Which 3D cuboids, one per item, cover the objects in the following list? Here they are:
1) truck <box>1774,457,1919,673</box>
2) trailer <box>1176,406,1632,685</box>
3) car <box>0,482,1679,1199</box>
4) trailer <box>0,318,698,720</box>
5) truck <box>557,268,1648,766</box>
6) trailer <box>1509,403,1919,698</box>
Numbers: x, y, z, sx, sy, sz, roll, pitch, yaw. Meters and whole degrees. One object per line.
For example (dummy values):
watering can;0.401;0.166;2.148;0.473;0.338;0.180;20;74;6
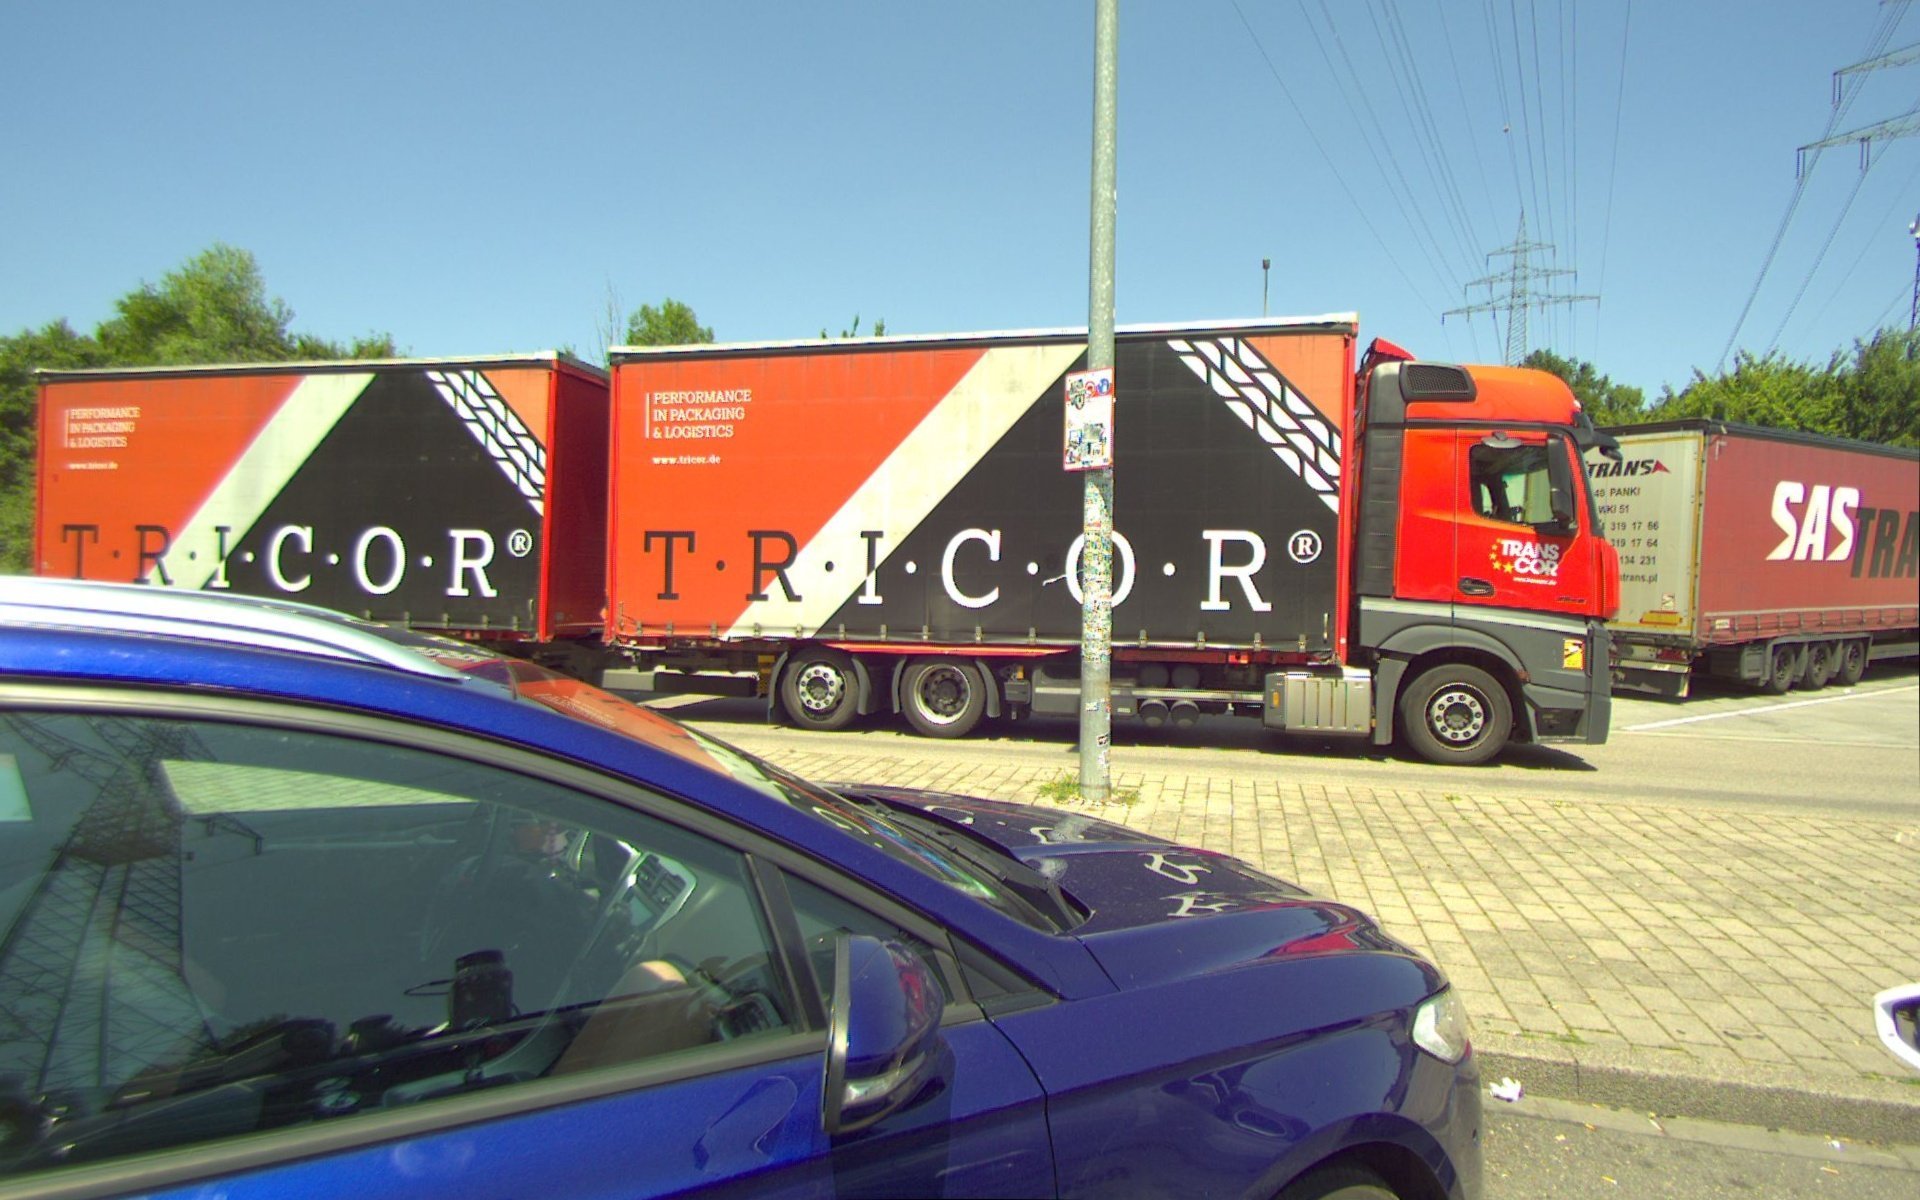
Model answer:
truck;20.821;-0.676;21.776;6.749;4.136;2.729;0;1;-31
trailer;8.714;-0.832;19.111;9.614;4.321;2.733;0;1;-29
car;-1.006;0.650;1.468;4.419;1.485;1.765;0;1;-32
trailer;-8.014;-0.912;13.242;8.510;4.315;2.844;1;1;15
truck;1.008;-0.745;10.972;10.390;4.183;2.695;1;1;14
trailer;15.288;-0.673;18.503;13.129;4.112;2.736;0;1;-31
